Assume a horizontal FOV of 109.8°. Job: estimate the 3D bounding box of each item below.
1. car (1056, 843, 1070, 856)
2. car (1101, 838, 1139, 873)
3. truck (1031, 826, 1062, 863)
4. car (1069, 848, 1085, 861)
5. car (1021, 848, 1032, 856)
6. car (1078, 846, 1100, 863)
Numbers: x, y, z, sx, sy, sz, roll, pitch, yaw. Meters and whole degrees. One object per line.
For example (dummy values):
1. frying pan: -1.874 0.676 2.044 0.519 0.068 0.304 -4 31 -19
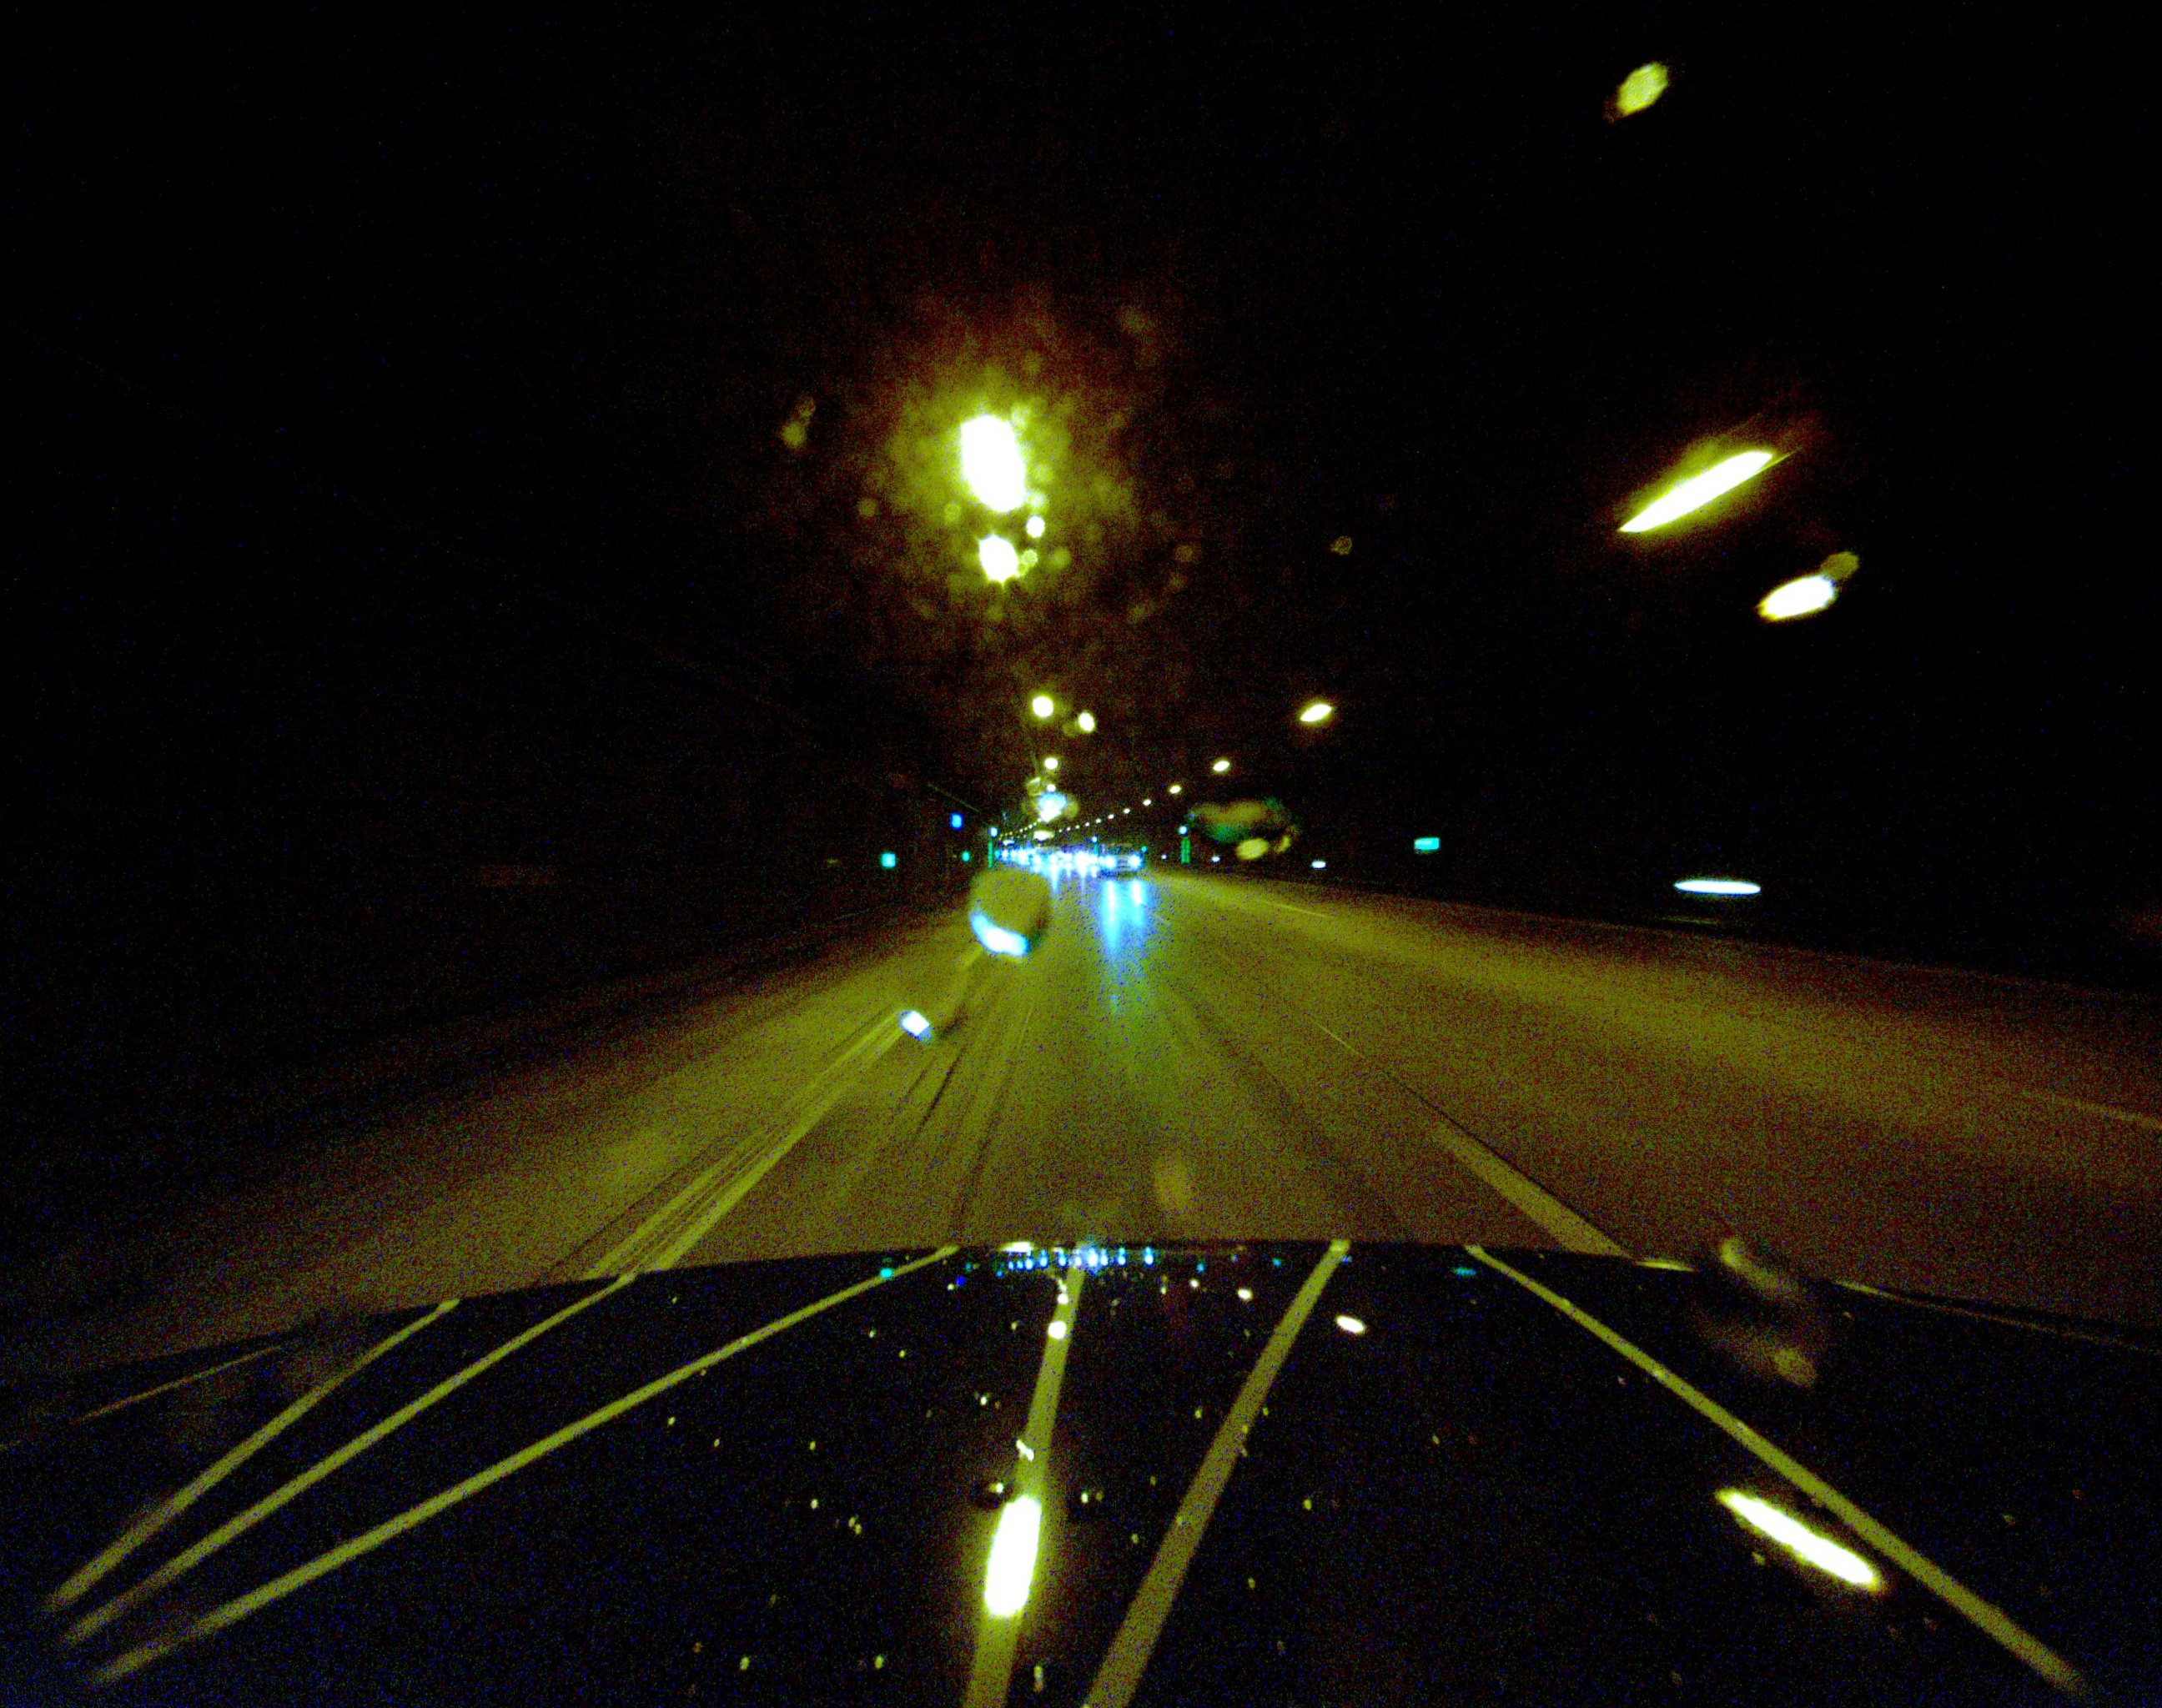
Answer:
1. car: -2.874 -0.686 120.376 1.999 2.002 3.998 -2 1 -6
2. car: 2.375 0.108 46.910 1.999 2.001 4.361 -1 -1 -1
3. truck: -4.175 -1.162 89.588 3.143 4.136 7.382 -2 1 -5
4. car: -0.533 0.044 94.790 1.759 1.567 3.998 -2 0 -4
5. car: -12.152 -0.442 170.414 2.000 1.729 3.996 -2 1 -9
6. car: 0.761 0.044 76.439 1.911 1.638 3.998 -2 0 -4
